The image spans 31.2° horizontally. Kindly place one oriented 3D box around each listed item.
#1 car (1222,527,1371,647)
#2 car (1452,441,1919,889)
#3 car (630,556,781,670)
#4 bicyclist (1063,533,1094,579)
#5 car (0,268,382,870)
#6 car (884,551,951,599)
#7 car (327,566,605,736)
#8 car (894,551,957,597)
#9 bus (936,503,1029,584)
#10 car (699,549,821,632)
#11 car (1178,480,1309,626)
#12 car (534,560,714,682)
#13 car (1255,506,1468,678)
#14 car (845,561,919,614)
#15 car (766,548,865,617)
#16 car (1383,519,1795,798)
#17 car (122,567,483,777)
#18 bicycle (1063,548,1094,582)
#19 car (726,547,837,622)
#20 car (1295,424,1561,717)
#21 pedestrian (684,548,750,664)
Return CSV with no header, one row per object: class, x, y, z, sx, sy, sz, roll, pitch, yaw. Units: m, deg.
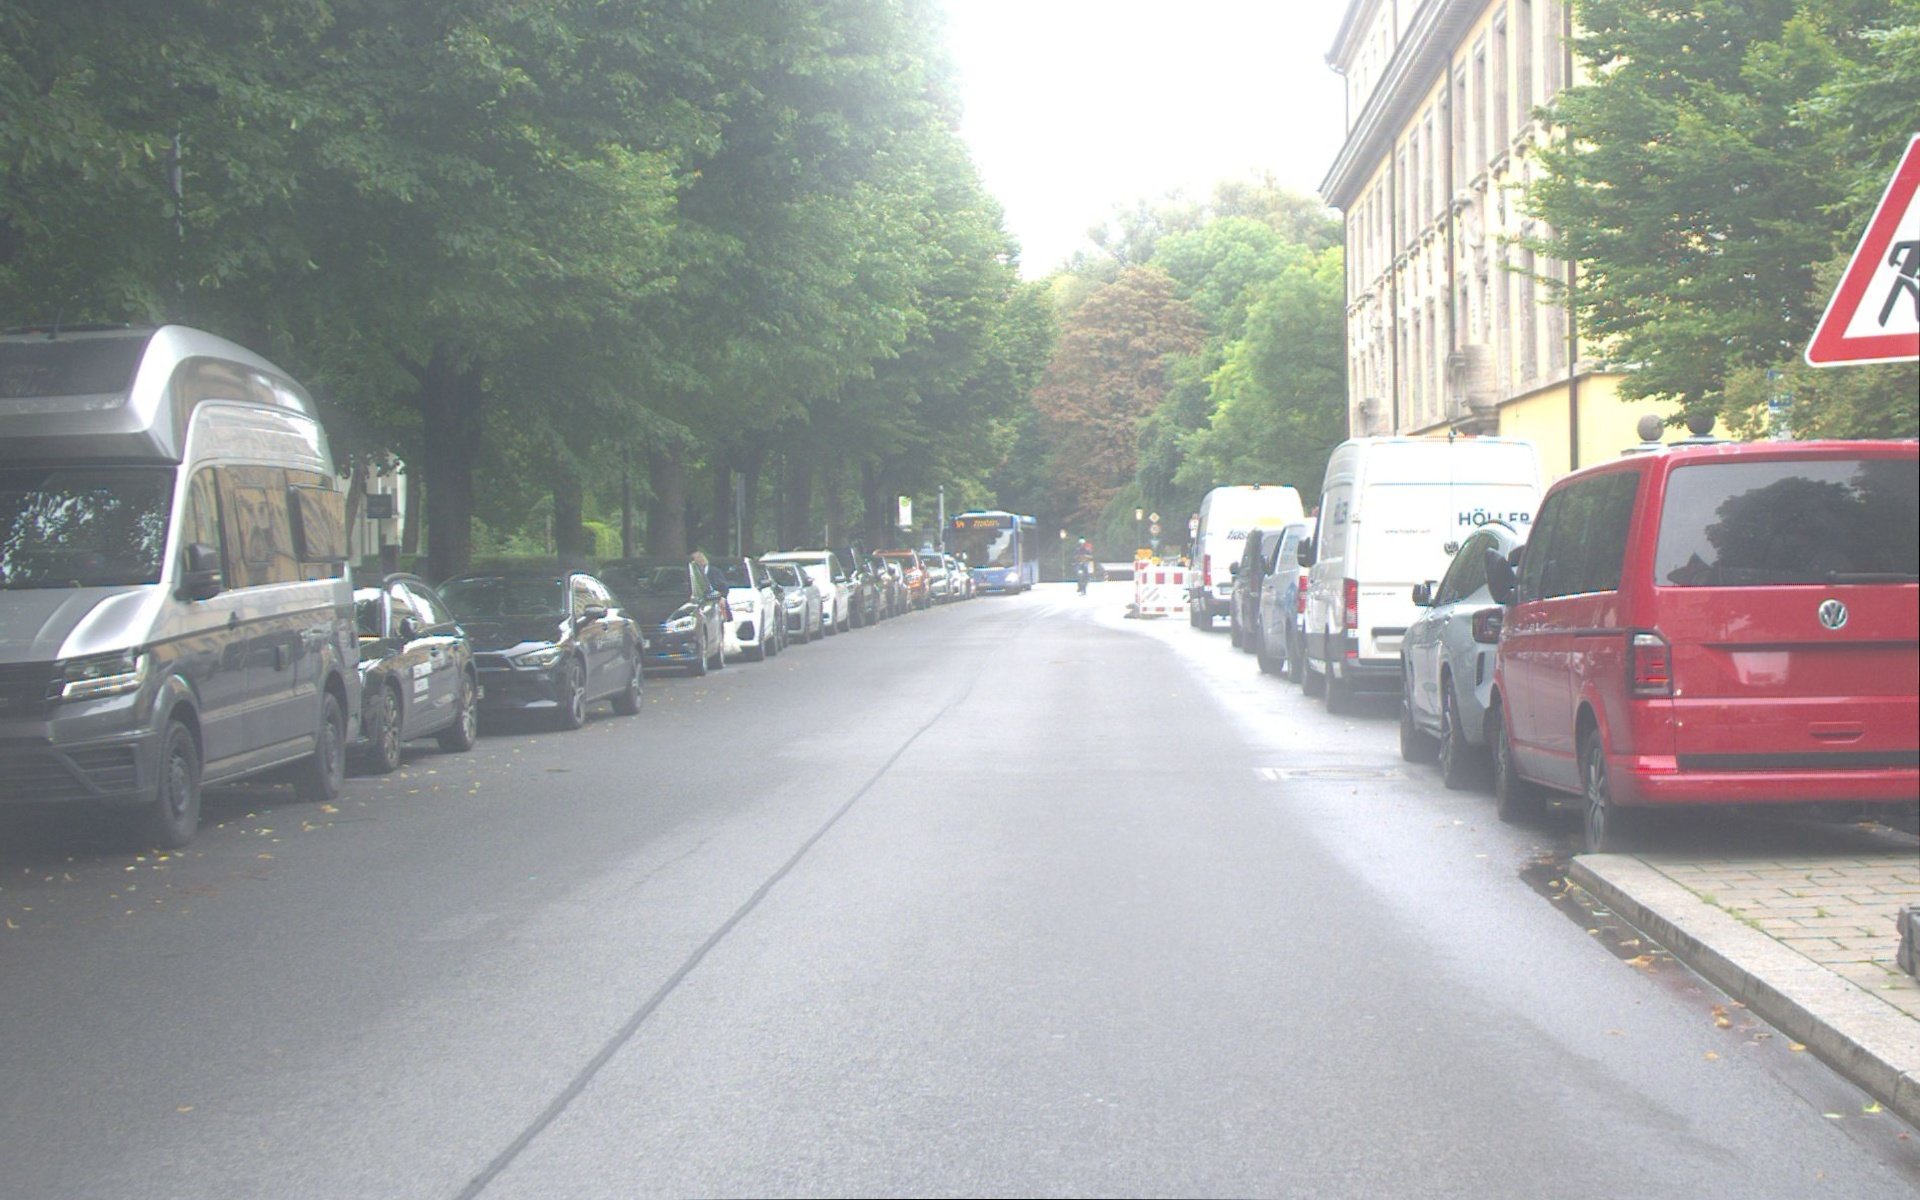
car,4.932,-0.212,50.803,1.794,1.673,4.000,-1,1,0
car,3.806,0.244,17.422,1.911,1.930,4.969,-1,1,0
car,-3.782,0.163,51.674,1.993,1.614,4.130,-1,1,-1
bicyclist,4.081,-1.517,118.334,1.021,1.540,1.257,-1,1,3
car,-5.122,-0.191,20.274,2.173,2.992,6.233,-1,1,2
car,-1.306,-0.777,105.128,1.993,1.415,4.000,-1,1,-1
car,-4.457,0.416,31.600,1.993,1.415,4.130,-1,1,-1
car,-1.112,-0.845,110.973,1.993,1.415,4.000,-1,1,-1
bus,0.799,-2.101,128.832,2.937,2.909,8.241,-1,1,-3
car,-3.555,-0.194,61.702,1.993,1.415,4.000,-1,1,-1
car,5.285,-0.883,64.607,1.839,2.613,4.385,-1,1,-3
car,-4.361,0.240,45.166,1.993,1.481,4.130,-1,1,-1
car,4.613,-0.123,40.009,1.993,1.876,4.000,-1,1,0
car,-2.147,-0.357,95.591,1.993,1.415,4.000,-1,1,-1
car,-3.082,-0.401,73.884,1.993,1.415,4.000,-1,1,-1
car,4.022,0.312,22.726,1.993,1.629,4.564,-1,1,2
car,-4.881,0.485,26.062,1.993,1.415,4.000,-1,1,-1
bicycle,4.074,-1.216,118.288,1.021,1.153,2.485,-1,1,3
car,-3.464,-0.323,67.473,1.993,1.415,4.000,-1,1,-1
car,4.388,-0.307,33.010,1.994,2.549,5.430,-1,1,2
pedestrian,-3.394,0.076,48.021,0.883,1.592,0.823,-1,1,-5
